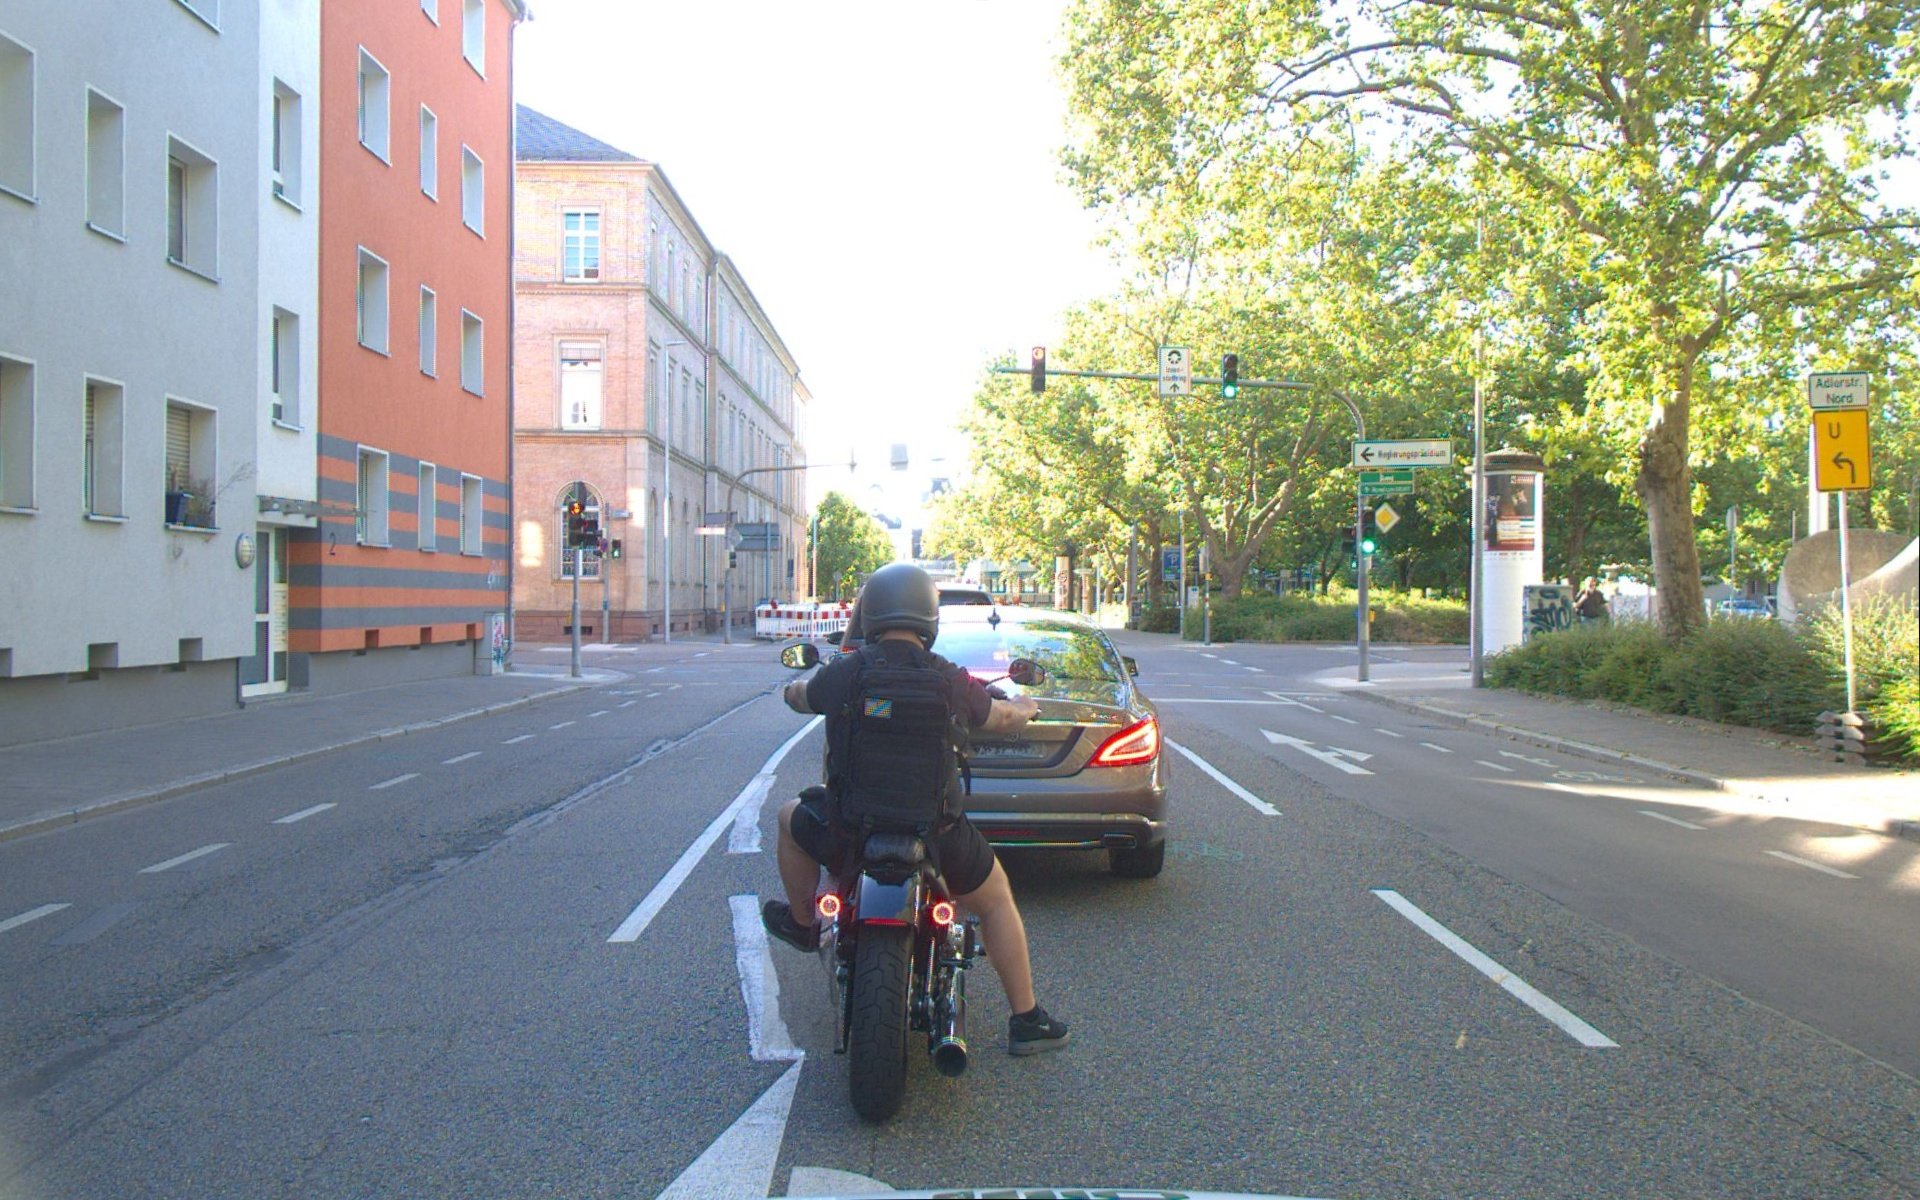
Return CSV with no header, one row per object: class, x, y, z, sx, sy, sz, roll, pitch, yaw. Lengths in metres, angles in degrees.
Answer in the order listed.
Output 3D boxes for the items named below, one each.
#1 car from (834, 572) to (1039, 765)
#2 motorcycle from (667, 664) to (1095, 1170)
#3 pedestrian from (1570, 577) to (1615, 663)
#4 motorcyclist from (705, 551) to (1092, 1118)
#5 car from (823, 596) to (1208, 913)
car,-0.237,0.626,16.936,1.825,1.707,3.999,1,0,-1
motorcycle,-0.126,0.876,5.492,1.094,1.228,2.213,1,0,5
pedestrian,13.555,0.422,35.471,0.720,1.809,0.730,1,-1,7
motorcyclist,-0.138,0.665,5.272,1.076,1.593,1.072,1,0,5
car,0.236,0.735,9.664,1.785,1.462,3.805,1,0,-1
